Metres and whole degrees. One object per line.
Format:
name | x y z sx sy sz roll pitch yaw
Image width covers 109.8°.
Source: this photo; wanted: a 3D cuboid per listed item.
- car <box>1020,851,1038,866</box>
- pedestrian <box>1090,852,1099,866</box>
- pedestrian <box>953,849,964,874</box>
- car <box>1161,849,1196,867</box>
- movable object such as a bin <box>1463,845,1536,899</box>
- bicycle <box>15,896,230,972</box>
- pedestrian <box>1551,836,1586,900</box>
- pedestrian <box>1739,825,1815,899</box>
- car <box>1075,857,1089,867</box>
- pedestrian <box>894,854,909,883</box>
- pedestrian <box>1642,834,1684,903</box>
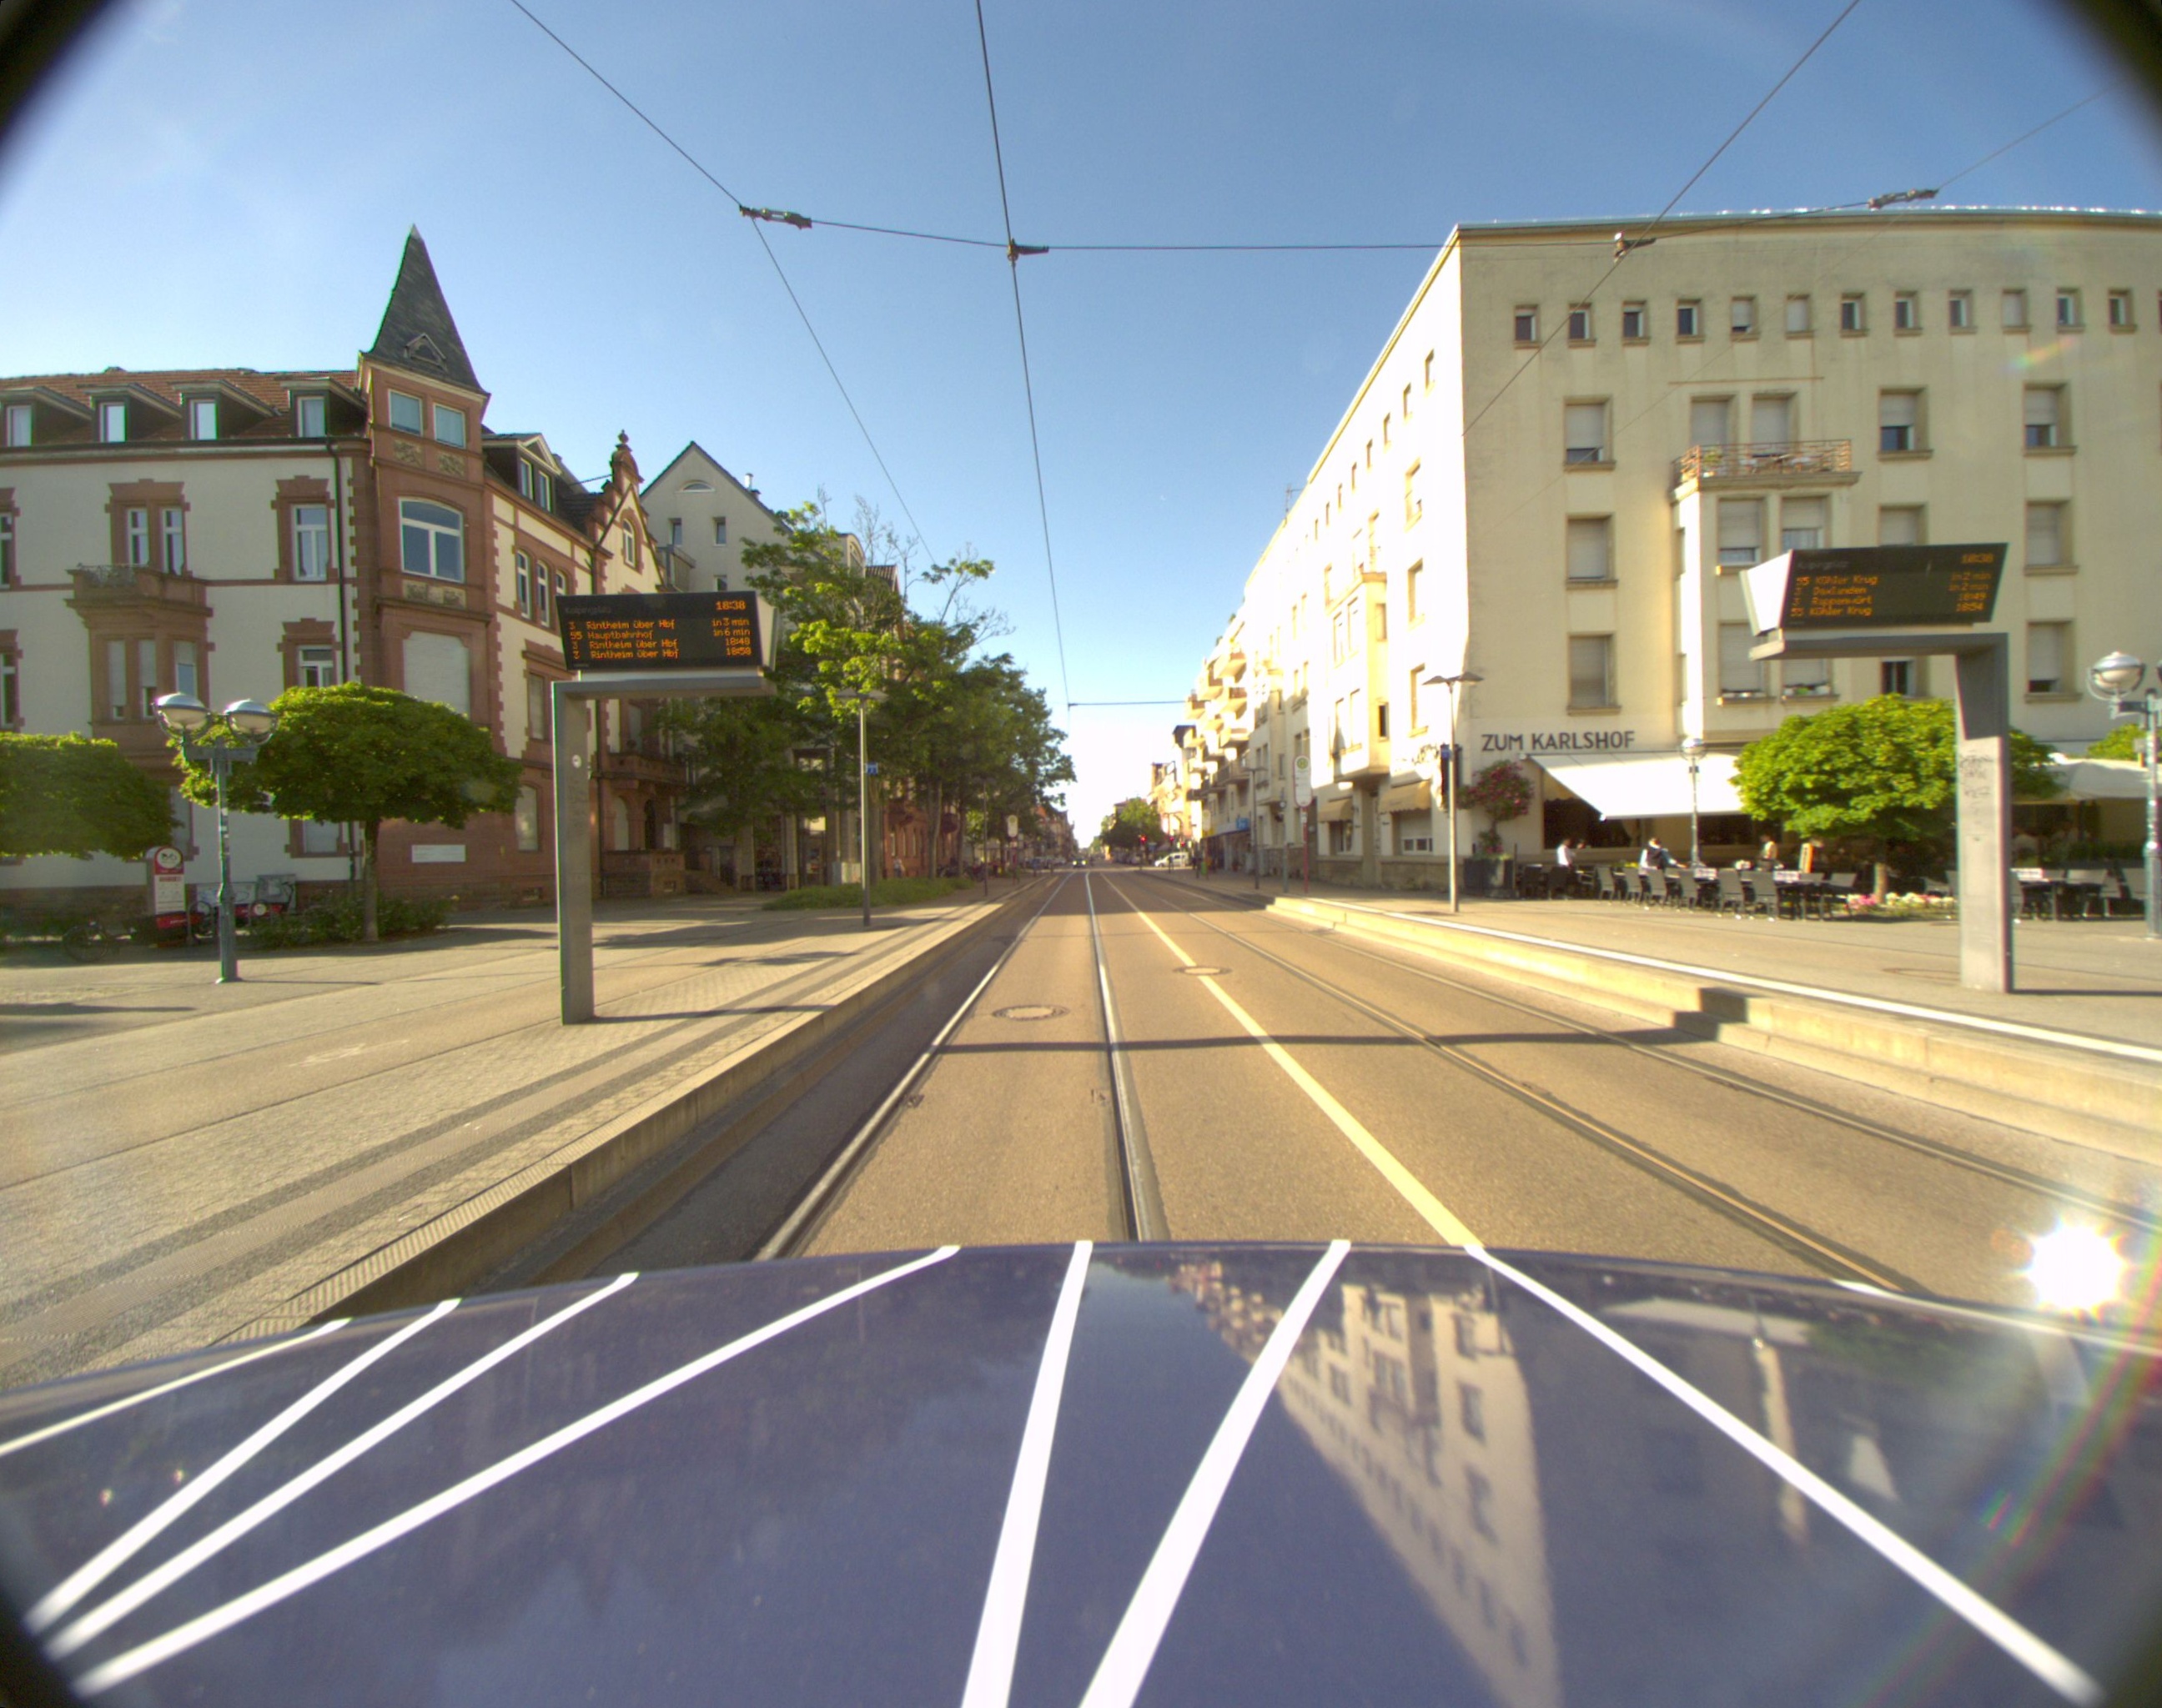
car | -7.198 0.664 105.848 1.998 2.002 4.001 -1 0 4
pedestrian | 2.103 0.758 116.488 1.334 1.990 1.138 -1 1 1
pedestrian | -9.919 0.617 61.555 0.653 2.002 0.559 -1 1 3
car | 11.947 0.496 93.118 3.993 2.105 1.880 -1 1 13
movable object such as a bin | 11.173 0.464 20.350 1.319 1.392 1.128 -1 1 -1
bicycle | -18.118 1.457 14.524 0.790 1.062 2.804 -2 2 -8
pedestrian | 12.610 0.372 19.682 0.672 1.634 0.752 -1 -2 27
pedestrian | 15.989 0.170 17.480 1.066 1.635 0.756 -1 1 -4
car | 0.159 1.059 108.121 1.998 1.318 3.863 -1 0 1
pedestrian | -10.663 0.857 45.132 0.742 1.725 0.877 -2 1 -6
pedestrian | 14.026 0.361 18.315 0.678 1.634 0.672 2 -3 -44
